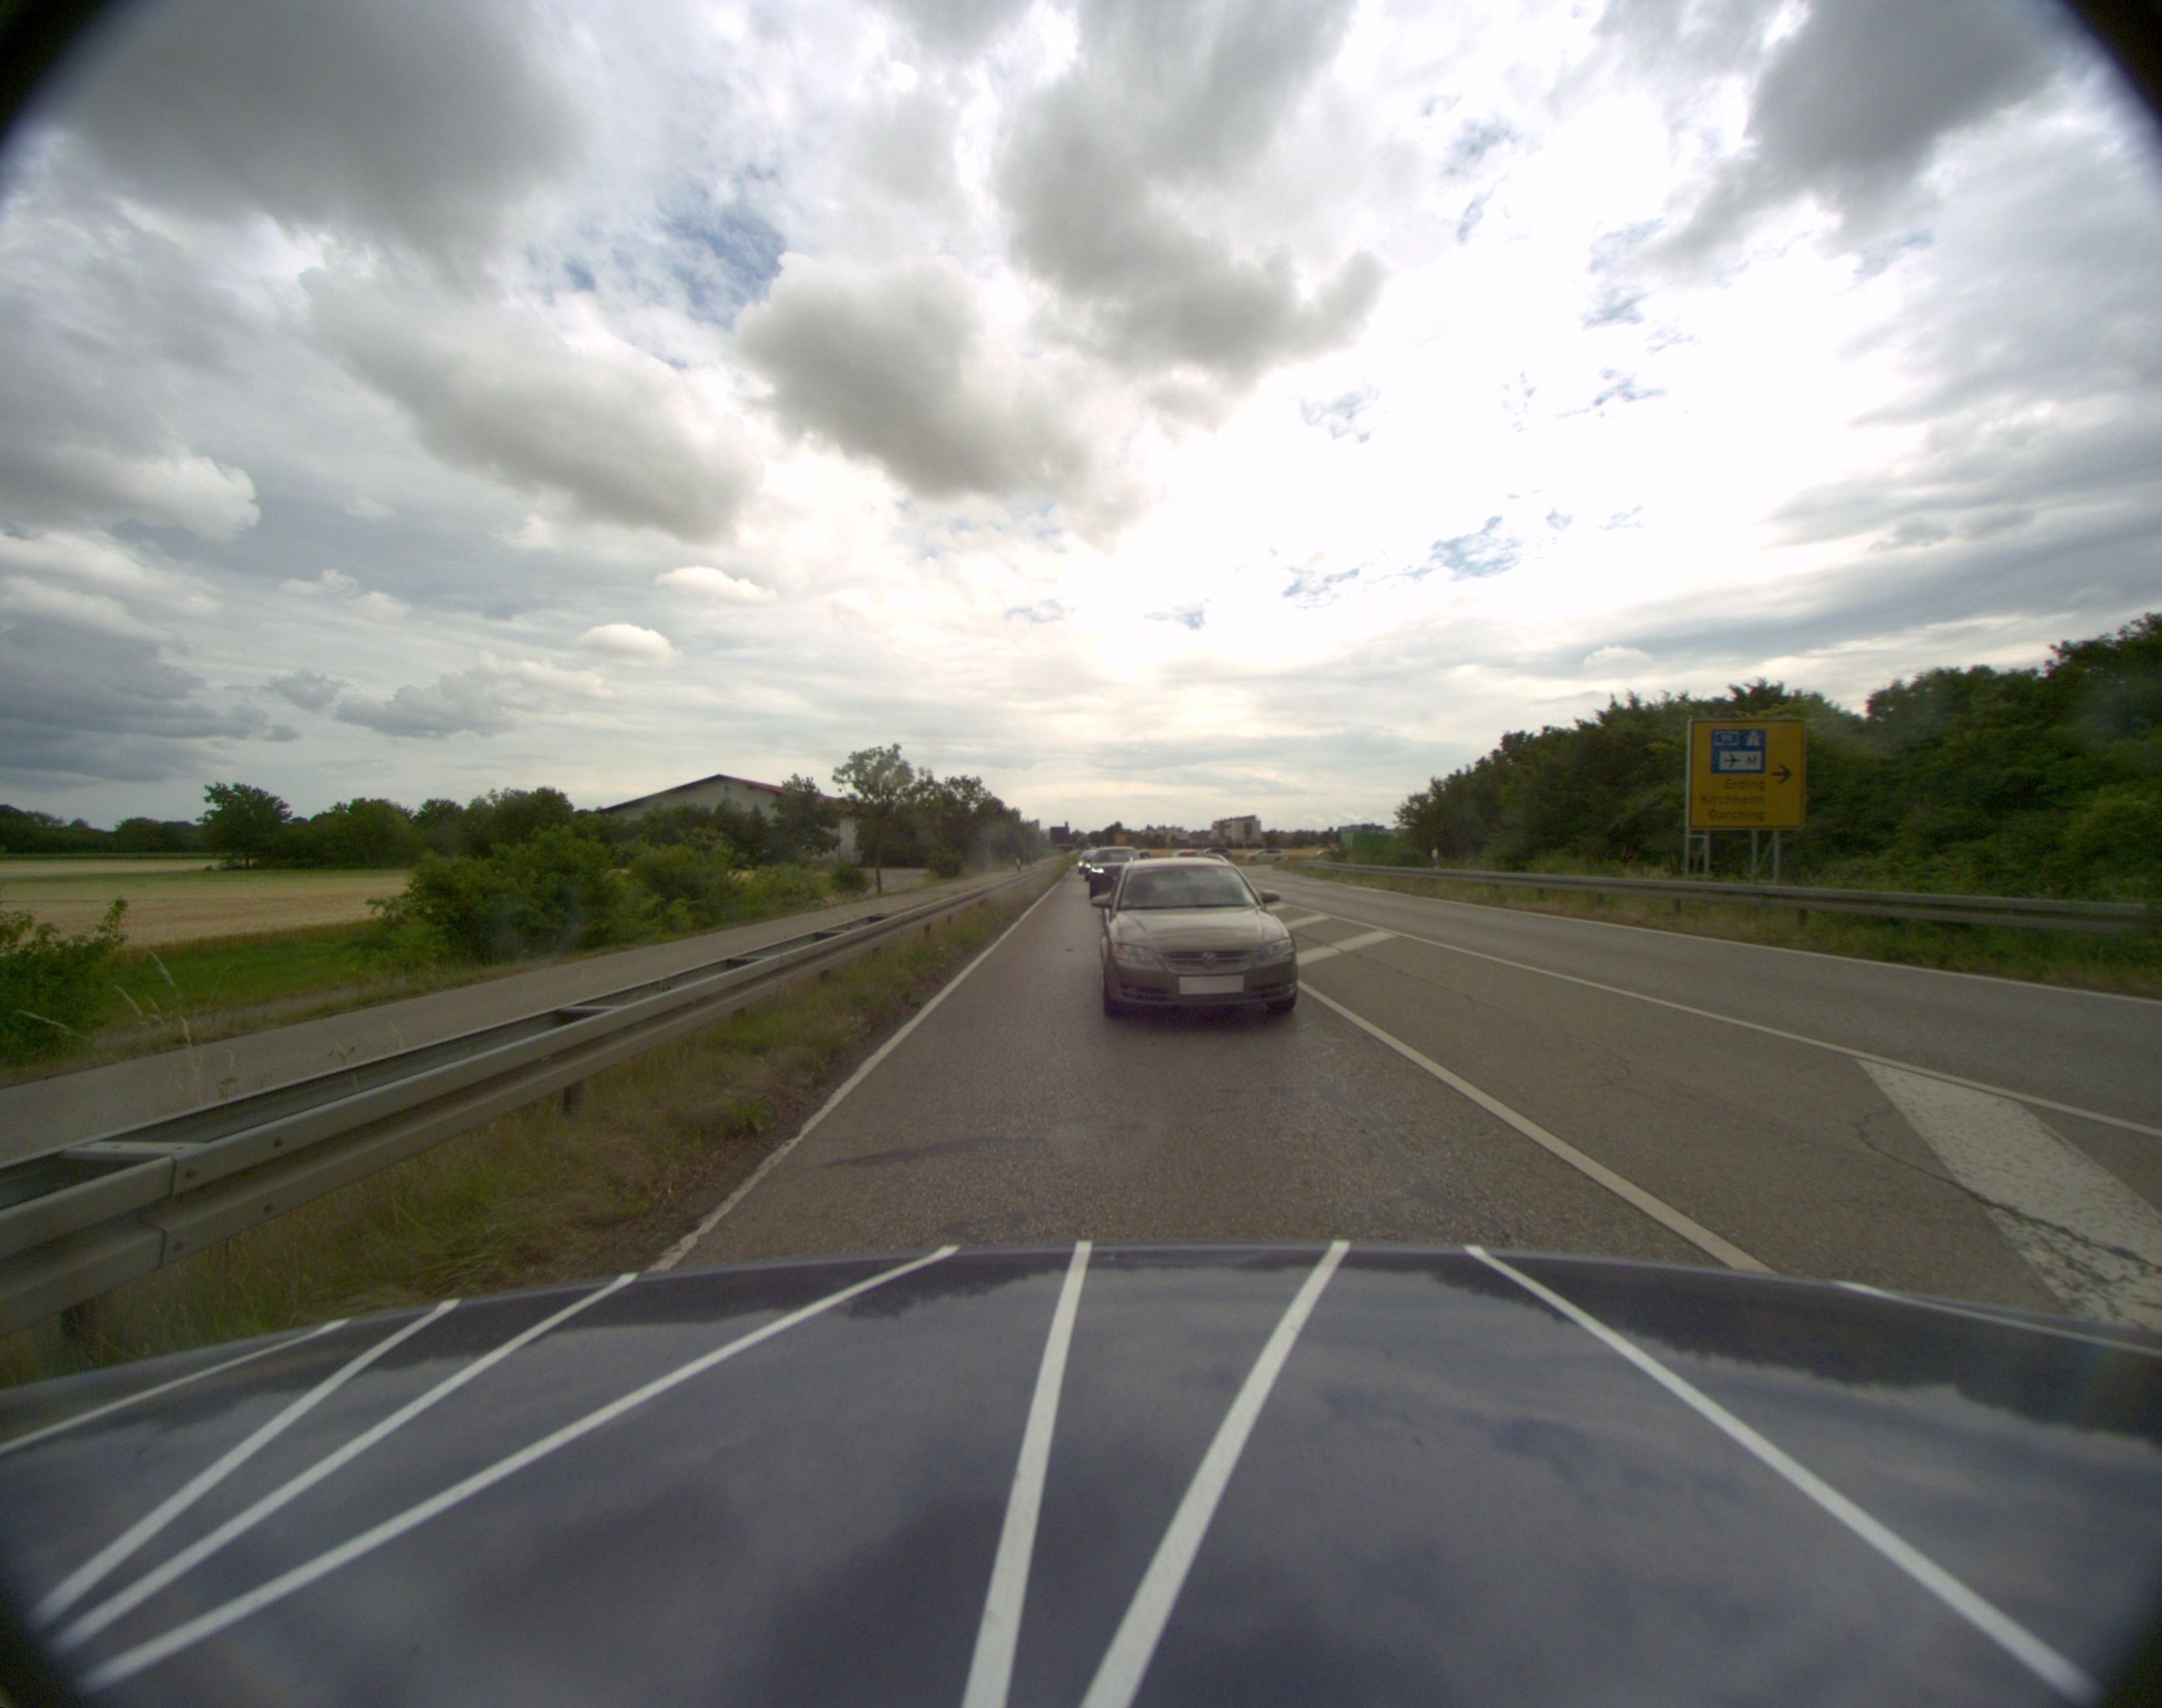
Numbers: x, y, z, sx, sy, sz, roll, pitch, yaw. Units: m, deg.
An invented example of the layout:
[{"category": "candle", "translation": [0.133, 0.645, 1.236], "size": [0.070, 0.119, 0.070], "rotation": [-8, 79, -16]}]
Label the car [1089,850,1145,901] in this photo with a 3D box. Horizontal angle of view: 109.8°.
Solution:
[{"category": "car", "translation": [1.150, 0.654, 26.043], "size": [1.730, 1.534, 4.204], "rotation": [-2, 1, 1]}]

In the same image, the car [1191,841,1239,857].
[{"category": "car", "translation": [14.809, -0.565, 84.084], "size": [4.815, 1.680, 1.999], "rotation": [-1, 1, -3]}]

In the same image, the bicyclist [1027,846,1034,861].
[{"category": "bicyclist", "translation": [-5.502, -0.082, 82.715], "size": [0.640, 1.573, 0.969], "rotation": [-1, 1, 1]}]

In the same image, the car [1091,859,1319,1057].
[{"category": "car", "translation": [0.985, 0.825, 7.982], "size": [1.730, 1.436, 4.204], "rotation": [-1, 1, 1]}]

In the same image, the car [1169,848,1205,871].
[{"category": "car", "translation": [7.108, 0.309, 51.215], "size": [1.804, 1.442, 4.445], "rotation": [-1, 1, 0]}]

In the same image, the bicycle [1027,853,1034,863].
[{"category": "bicycle", "translation": [-5.498, 0.422, 82.745], "size": [0.640, 0.973, 2.072], "rotation": [-1, 1, 1]}]

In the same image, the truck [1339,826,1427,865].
[{"category": "truck", "translation": [30.043, -0.850, 75.798], "size": [7.604, 3.542, 2.931], "rotation": [-2, 1, -8]}]

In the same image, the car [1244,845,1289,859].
[{"category": "car", "translation": [20.430, -0.213, 83.973], "size": [4.672, 1.490, 2.001], "rotation": [-1, 1, 10]}]

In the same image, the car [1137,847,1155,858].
[{"category": "car", "translation": [8.883, -0.250, 103.758], "size": [1.999, 1.481, 3.837], "rotation": [-1, 1, -3]}]

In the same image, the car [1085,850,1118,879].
[{"category": "car", "translation": [1.093, 0.557, 42.195], "size": [1.730, 1.478, 4.204], "rotation": [-2, 1, 1]}]

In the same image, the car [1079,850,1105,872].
[{"category": "car", "translation": [0.788, 0.488, 55.298], "size": [1.730, 1.436, 4.204], "rotation": [-2, 1, 1]}]

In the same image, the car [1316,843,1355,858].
[{"category": "car", "translation": [27.606, -0.402, 82.531], "size": [3.714, 1.490, 1.731], "rotation": [-1, 1, 8]}]

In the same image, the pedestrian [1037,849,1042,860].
[{"category": "pedestrian", "translation": [-6.000, 0.051, 110.266], "size": [0.591, 1.512, 0.501], "rotation": [-2, 1, 8]}]
